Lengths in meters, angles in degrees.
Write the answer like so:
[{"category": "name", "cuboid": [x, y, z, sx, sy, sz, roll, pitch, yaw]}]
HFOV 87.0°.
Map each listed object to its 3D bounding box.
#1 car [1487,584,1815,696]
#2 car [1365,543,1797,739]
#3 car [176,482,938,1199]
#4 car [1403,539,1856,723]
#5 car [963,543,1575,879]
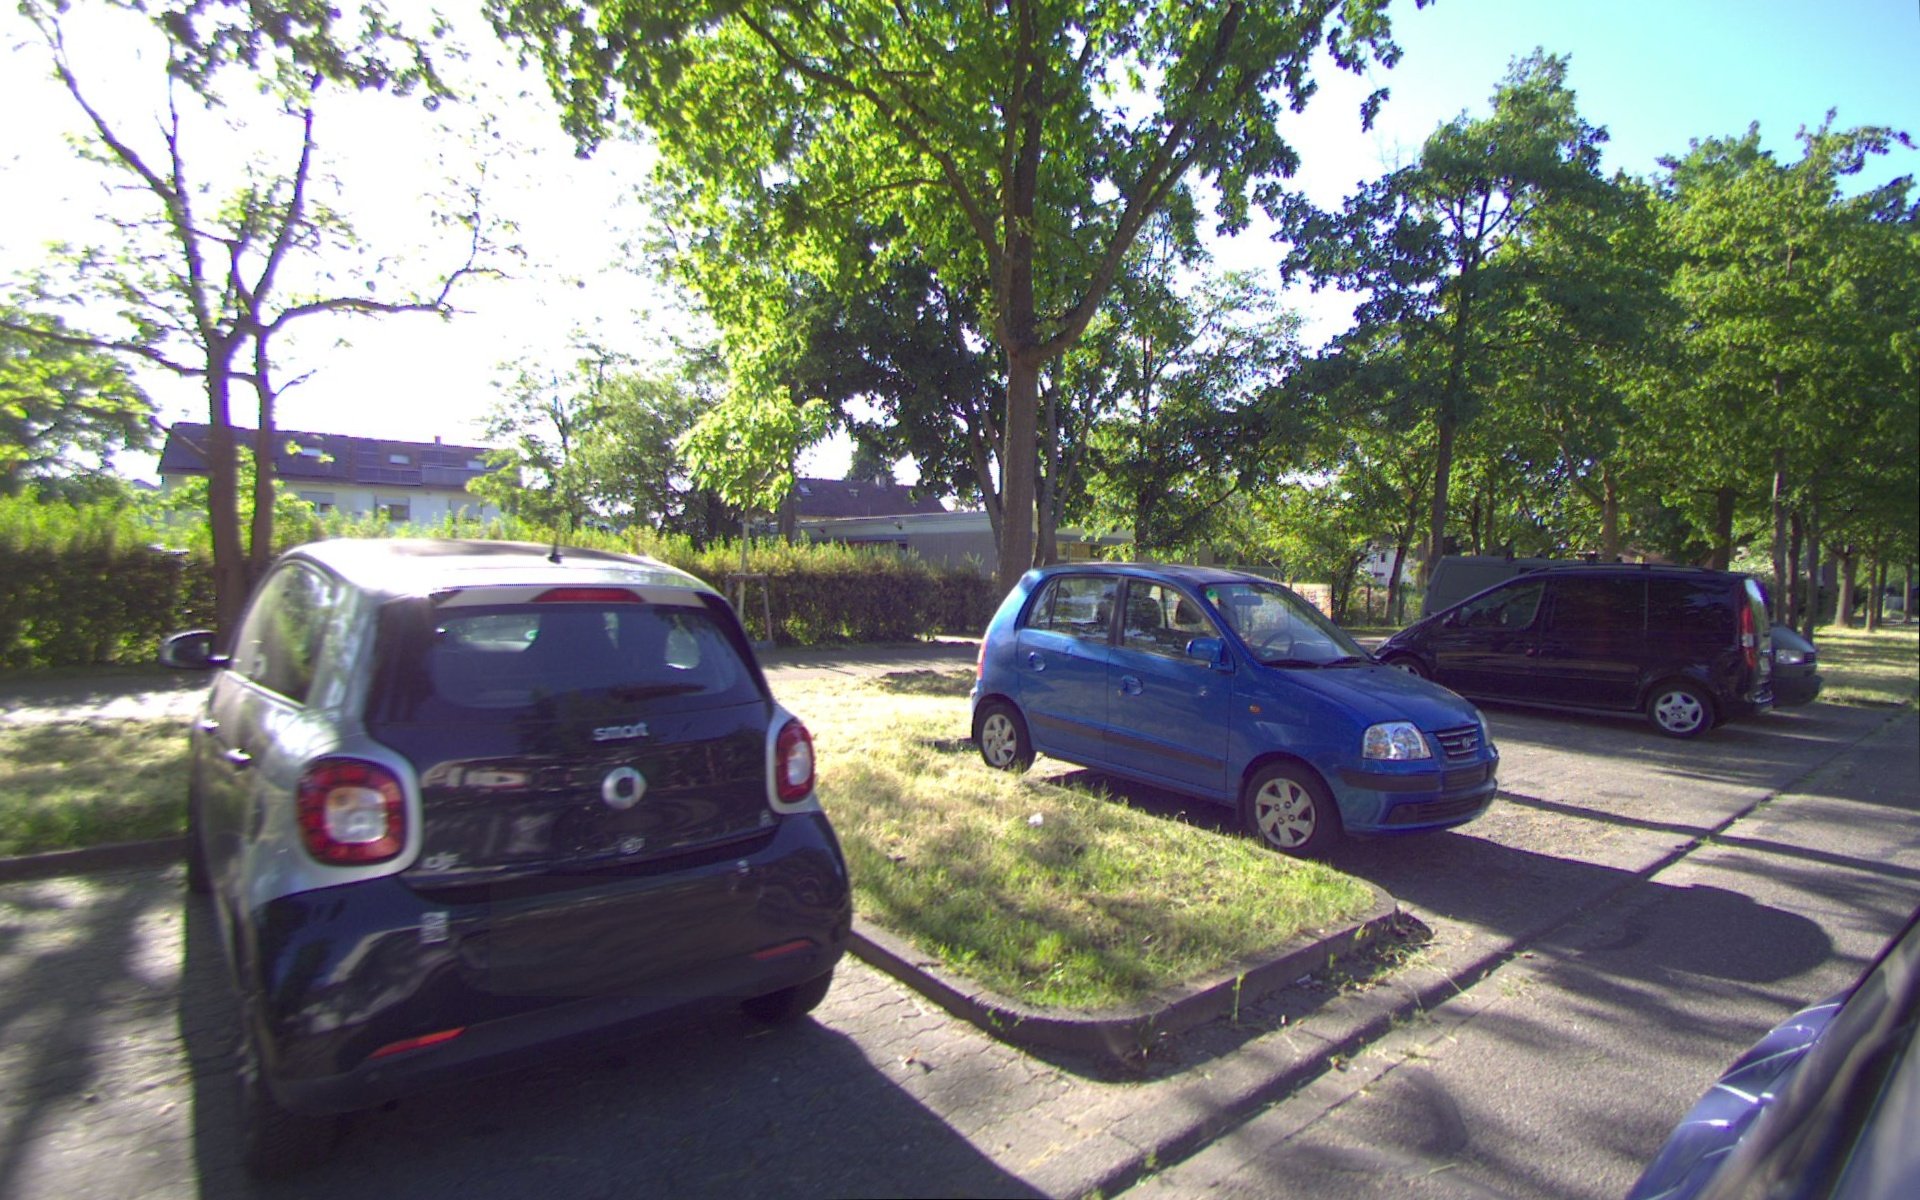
[{"category": "car", "cuboid": [10.874, 0.529, 16.146, 1.709, 1.420, 3.996, 0, 3, -41]}, {"category": "car", "cuboid": [7.219, 0.317, 12.065, 1.769, 1.859, 4.014, 0, 4, -43]}, {"category": "car", "cuboid": [-1.893, 0.456, 3.942, 1.754, 1.595, 3.593, 0, 3, -39]}, {"category": "car", "cuboid": [8.934, 0.240, 13.914, 1.910, 2.057, 4.813, 0, 3, -41]}, {"category": "car", "cuboid": [1.785, 0.451, 6.707, 1.635, 1.550, 3.530, 0, 3, -39]}]
